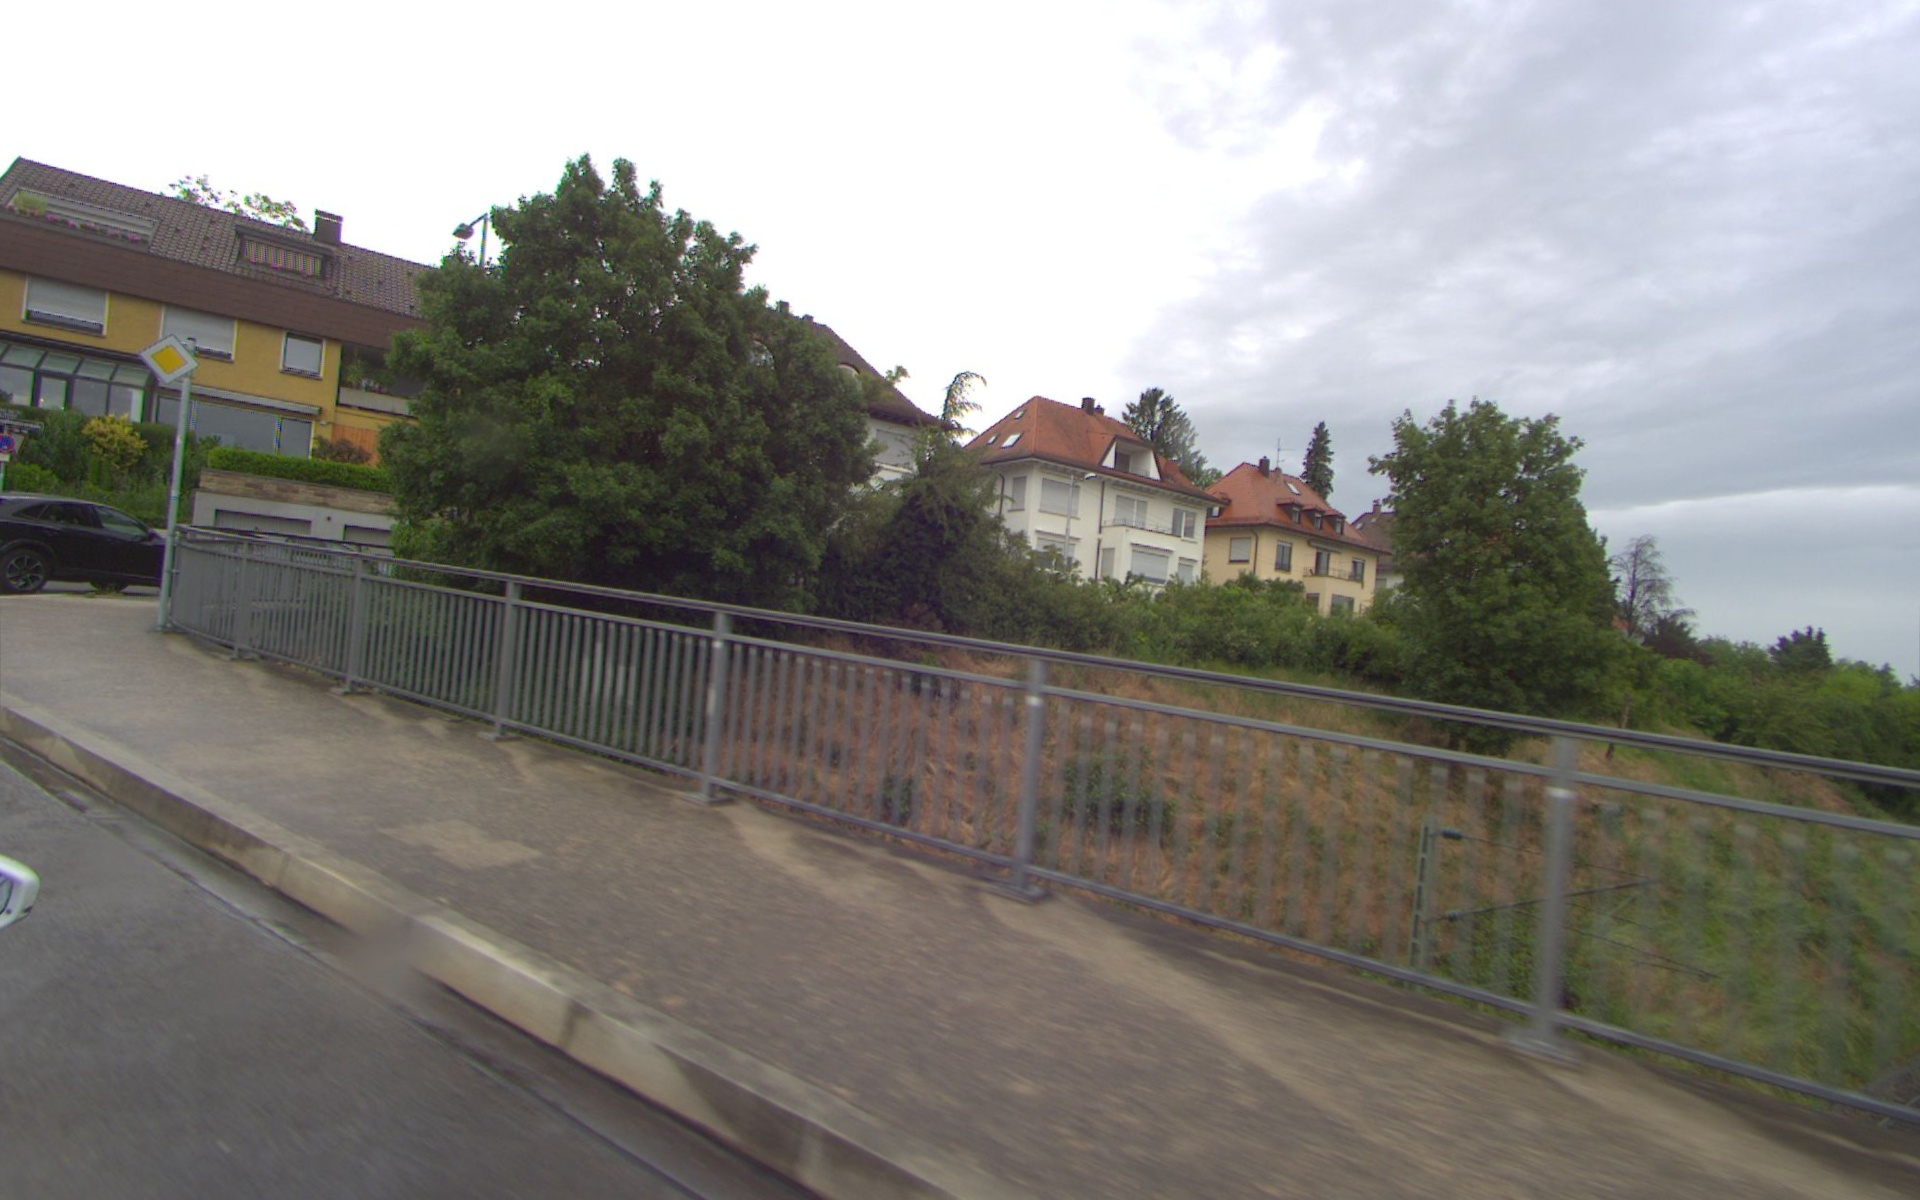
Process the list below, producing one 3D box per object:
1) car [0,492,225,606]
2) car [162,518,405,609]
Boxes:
[{"bbox_3d":[-14.932,-0.873,16.600,1.962,1.541,4.205,8,-1,10],"label":"car"},{"bbox_3d":[-14.064,-0.689,21.247,1.767,1.442,4.060,6,-1,12],"label":"car"}]
